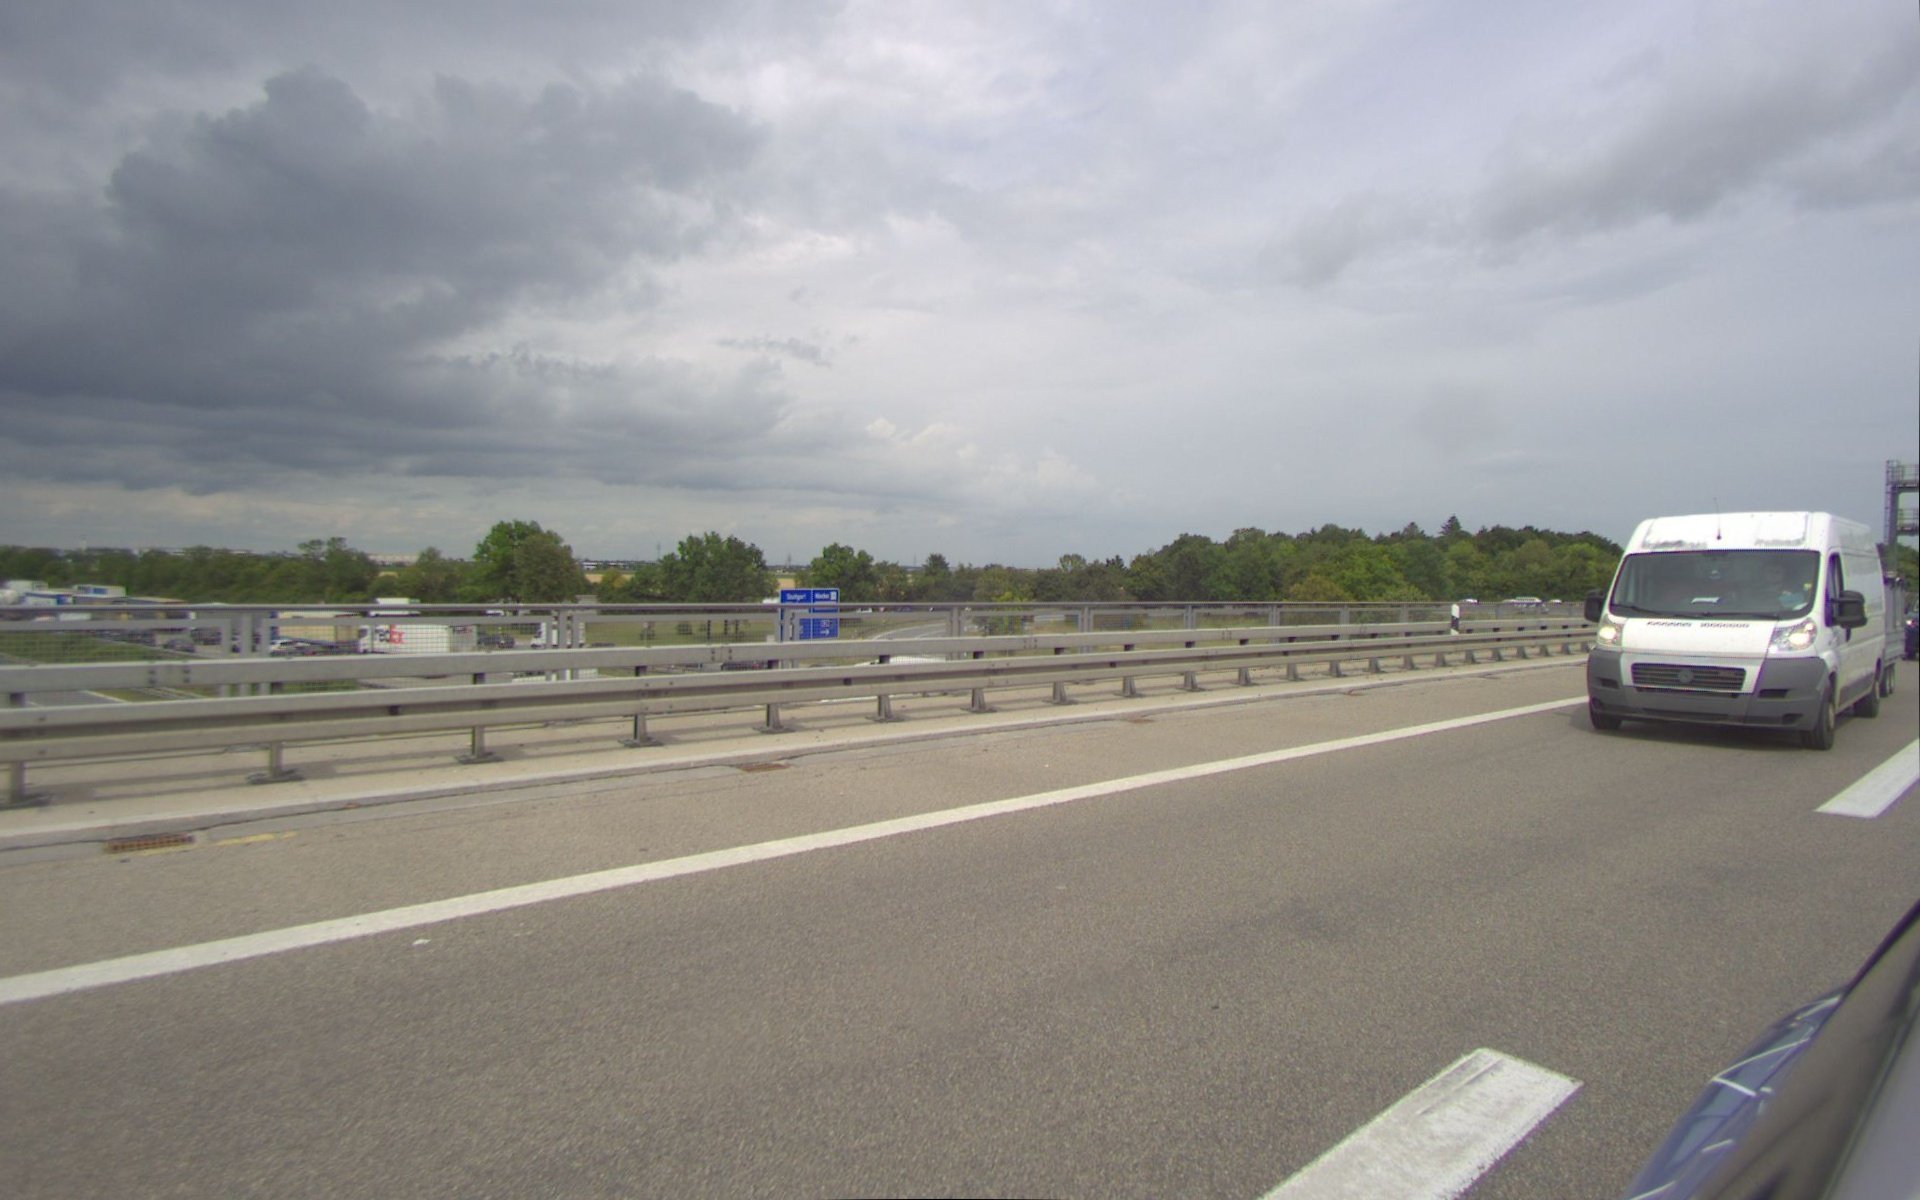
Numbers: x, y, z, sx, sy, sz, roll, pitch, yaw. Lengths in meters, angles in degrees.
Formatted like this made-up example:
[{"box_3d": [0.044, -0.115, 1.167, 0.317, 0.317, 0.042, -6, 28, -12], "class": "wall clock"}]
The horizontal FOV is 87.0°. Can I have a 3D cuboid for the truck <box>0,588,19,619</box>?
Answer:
[{"box_3d": [-160.615, 0.549, 167.447, 15.250, 4.882, 4.035, 0, 0, 35], "class": "truck"}]

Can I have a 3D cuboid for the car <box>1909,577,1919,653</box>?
[{"box_3d": [24.941, 0.377, 24.858, 3.930, 1.816, 1.997, 0, 0, -41], "class": "car"}]

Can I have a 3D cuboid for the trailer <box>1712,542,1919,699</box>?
[{"box_3d": [13.118, 0.273, 15.323, 4.550, 2.039, 1.858, 0, 0, -41], "class": "trailer"}]

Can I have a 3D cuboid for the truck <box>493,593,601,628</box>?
[{"box_3d": [-62.638, 1.616, 153.844, 14.555, 5.281, 3.866, 0, 0, -7], "class": "truck"}]

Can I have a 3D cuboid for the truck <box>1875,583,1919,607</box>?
[{"box_3d": [154.496, -0.775, 162.672, 11.587, 3.907, 2.842, 0, 0, 6], "class": "truck"}]

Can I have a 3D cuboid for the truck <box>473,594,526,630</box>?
[{"box_3d": [-69.549, 1.738, 152.947, 6.312, 5.380, 3.864, 0, 0, -7], "class": "truck"}]

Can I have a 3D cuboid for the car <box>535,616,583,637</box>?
[{"box_3d": [-40.414, 2.628, 102.021, 4.635, 2.039, 2.159, 0, 0, 32], "class": "car"}]

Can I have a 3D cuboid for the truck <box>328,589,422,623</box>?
[{"box_3d": [-89.564, 0.896, 155.061, 12.779, 5.105, 3.943, 0, 0, 8], "class": "truck"}]

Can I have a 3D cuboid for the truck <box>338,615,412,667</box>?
[{"box_3d": [-55.107, 3.784, 95.323, 6.254, 4.568, 3.882, 0, 0, 36], "class": "truck"}]

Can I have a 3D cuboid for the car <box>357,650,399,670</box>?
[{"box_3d": [-49.840, 5.116, 86.590, 3.976, 1.505, 1.715, 1, 1, 37], "class": "car"}]

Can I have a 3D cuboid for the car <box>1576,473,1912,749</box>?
[{"box_3d": [9.461, 0.103, 11.948, 6.046, 2.485, 2.117, 0, 0, -42], "class": "car"}]

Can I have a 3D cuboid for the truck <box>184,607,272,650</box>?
[{"box_3d": [-84.196, 3.155, 116.273, 14.796, 4.612, 3.955, 0, 0, 37], "class": "truck"}]

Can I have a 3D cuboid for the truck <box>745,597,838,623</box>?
[{"box_3d": [-27.291, 1.667, 164.113, 14.423, 4.141, 3.092, 0, 0, -20], "class": "truck"}]

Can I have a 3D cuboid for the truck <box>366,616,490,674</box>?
[{"box_3d": [-47.293, 3.837, 89.694, 13.703, 4.612, 3.957, 0, 0, 36], "class": "truck"}]

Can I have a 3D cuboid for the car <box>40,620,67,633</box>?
[{"box_3d": [-111.882, 3.275, 124.903, 3.976, 1.505, 1.715, 1, 1, 36], "class": "car"}]

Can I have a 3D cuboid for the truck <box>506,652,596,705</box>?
[{"box_3d": [-28.713, 5.406, 70.882, 7.520, 3.237, 2.203, 0, 0, 36], "class": "truck"}]

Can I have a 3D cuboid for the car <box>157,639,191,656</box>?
[{"box_3d": [-79.654, 4.820, 102.605, 3.976, 1.505, 1.715, 1, 1, 36], "class": "car"}]

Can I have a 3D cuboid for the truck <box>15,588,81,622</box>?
[{"box_3d": [-136.925, 0.659, 151.883, 14.385, 4.882, 4.037, 0, 0, 34], "class": "truck"}]

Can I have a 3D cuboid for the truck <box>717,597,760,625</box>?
[{"box_3d": [-35.247, 1.709, 161.174, 6.307, 4.240, 3.169, 0, 0, -19], "class": "truck"}]

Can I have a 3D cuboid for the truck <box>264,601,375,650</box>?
[{"box_3d": [-66.190, 2.473, 104.340, 16.264, 4.612, 3.956, 0, 0, 36], "class": "truck"}]

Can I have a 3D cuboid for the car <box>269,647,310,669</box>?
[{"box_3d": [-58.235, 5.003, 87.884, 3.975, 1.575, 1.651, 1, 1, 36], "class": "car"}]

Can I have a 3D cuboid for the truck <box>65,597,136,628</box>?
[{"box_3d": [-119.788, 1.716, 140.971, 14.800, 4.083, 4.090, 0, 0, 36], "class": "truck"}]

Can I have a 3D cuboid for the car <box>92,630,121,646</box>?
[{"box_3d": [-97.056, 4.273, 115.098, 3.975, 1.575, 1.651, 1, 1, 36], "class": "car"}]

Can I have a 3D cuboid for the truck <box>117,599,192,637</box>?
[{"box_3d": [-103.049, 2.174, 129.356, 15.219, 4.612, 3.954, 0, 0, 38], "class": "truck"}]

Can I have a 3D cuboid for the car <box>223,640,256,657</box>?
[{"box_3d": [-73.881, 4.994, 103.757, 3.977, 1.505, 1.715, 1, 1, 37], "class": "car"}]

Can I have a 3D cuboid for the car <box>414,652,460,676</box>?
[{"box_3d": [-41.706, 5.071, 80.734, 3.975, 1.575, 1.651, 1, 1, 36], "class": "car"}]
